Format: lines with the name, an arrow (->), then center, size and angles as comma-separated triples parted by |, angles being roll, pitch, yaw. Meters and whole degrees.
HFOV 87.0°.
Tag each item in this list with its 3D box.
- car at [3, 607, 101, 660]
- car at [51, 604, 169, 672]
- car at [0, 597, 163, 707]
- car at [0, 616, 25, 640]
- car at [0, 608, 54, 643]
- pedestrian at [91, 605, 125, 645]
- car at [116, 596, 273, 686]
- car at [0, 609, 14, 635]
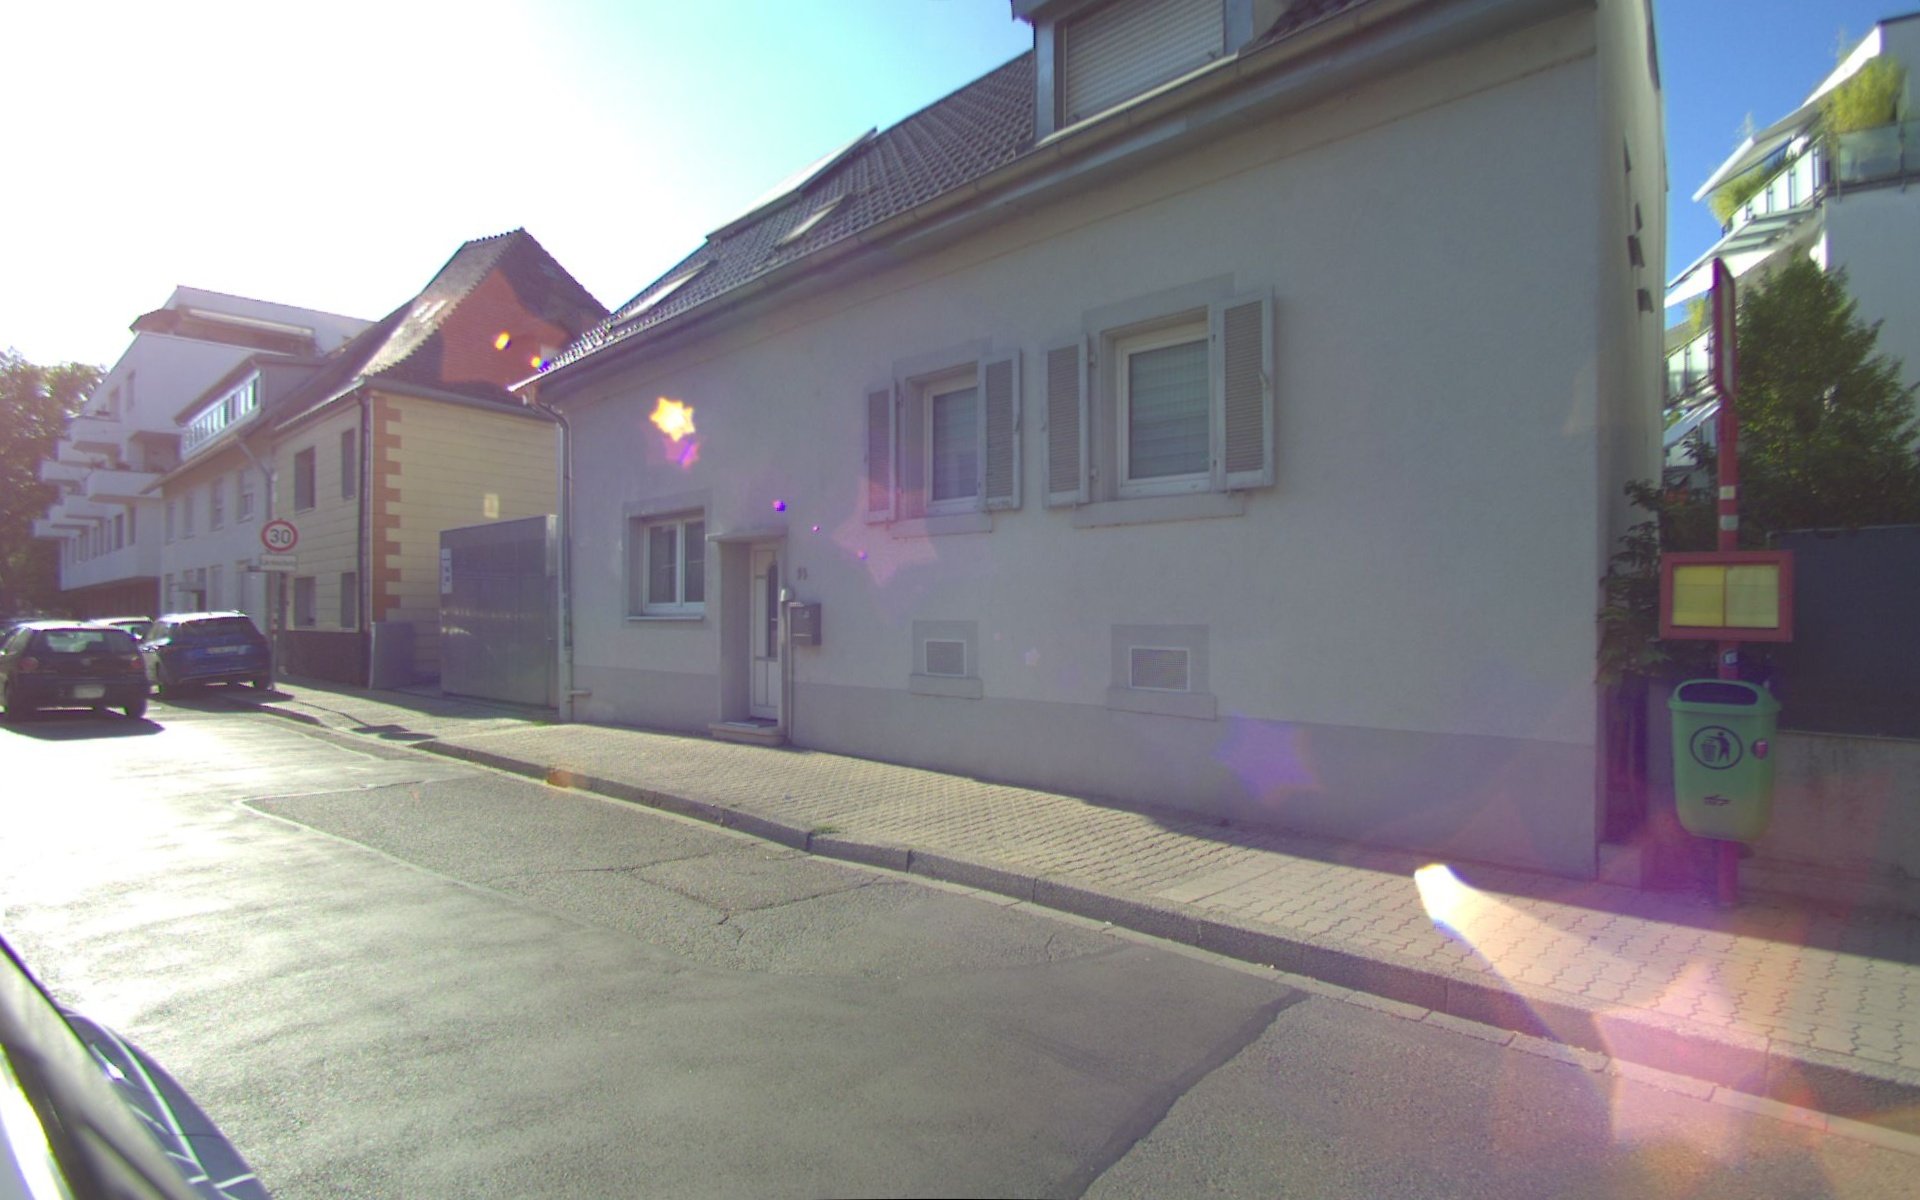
car -> -29.691, 1.051, 33.046 | 4.329, 1.547, 1.668 | -1, 1, 39
car -> -22.360, 0.975, 26.578 | 4.335, 1.599, 1.837 | -2, 0, 43
car -> -14.225, 0.765, 15.913 | 4.141, 1.502, 1.823 | 0, -3, 40
car -> -68.025, 2.000, 70.521 | 1.683, 1.675, 3.943 | -1, 0, 13
car -> -45.805, 1.212, 49.256 | 4.616, 1.599, 1.839 | -1, 1, 39
pedestrian -> -40.404, 1.180, 48.008 | 0.849, 1.832, 1.136 | -4, 1, -24
car -> -15.698, 0.834, 20.677 | 4.192, 1.599, 1.789 | -3, -1, 42
car -> -54.548, 1.234, 56.818 | 3.768, 1.444, 1.657 | -1, 1, 41
